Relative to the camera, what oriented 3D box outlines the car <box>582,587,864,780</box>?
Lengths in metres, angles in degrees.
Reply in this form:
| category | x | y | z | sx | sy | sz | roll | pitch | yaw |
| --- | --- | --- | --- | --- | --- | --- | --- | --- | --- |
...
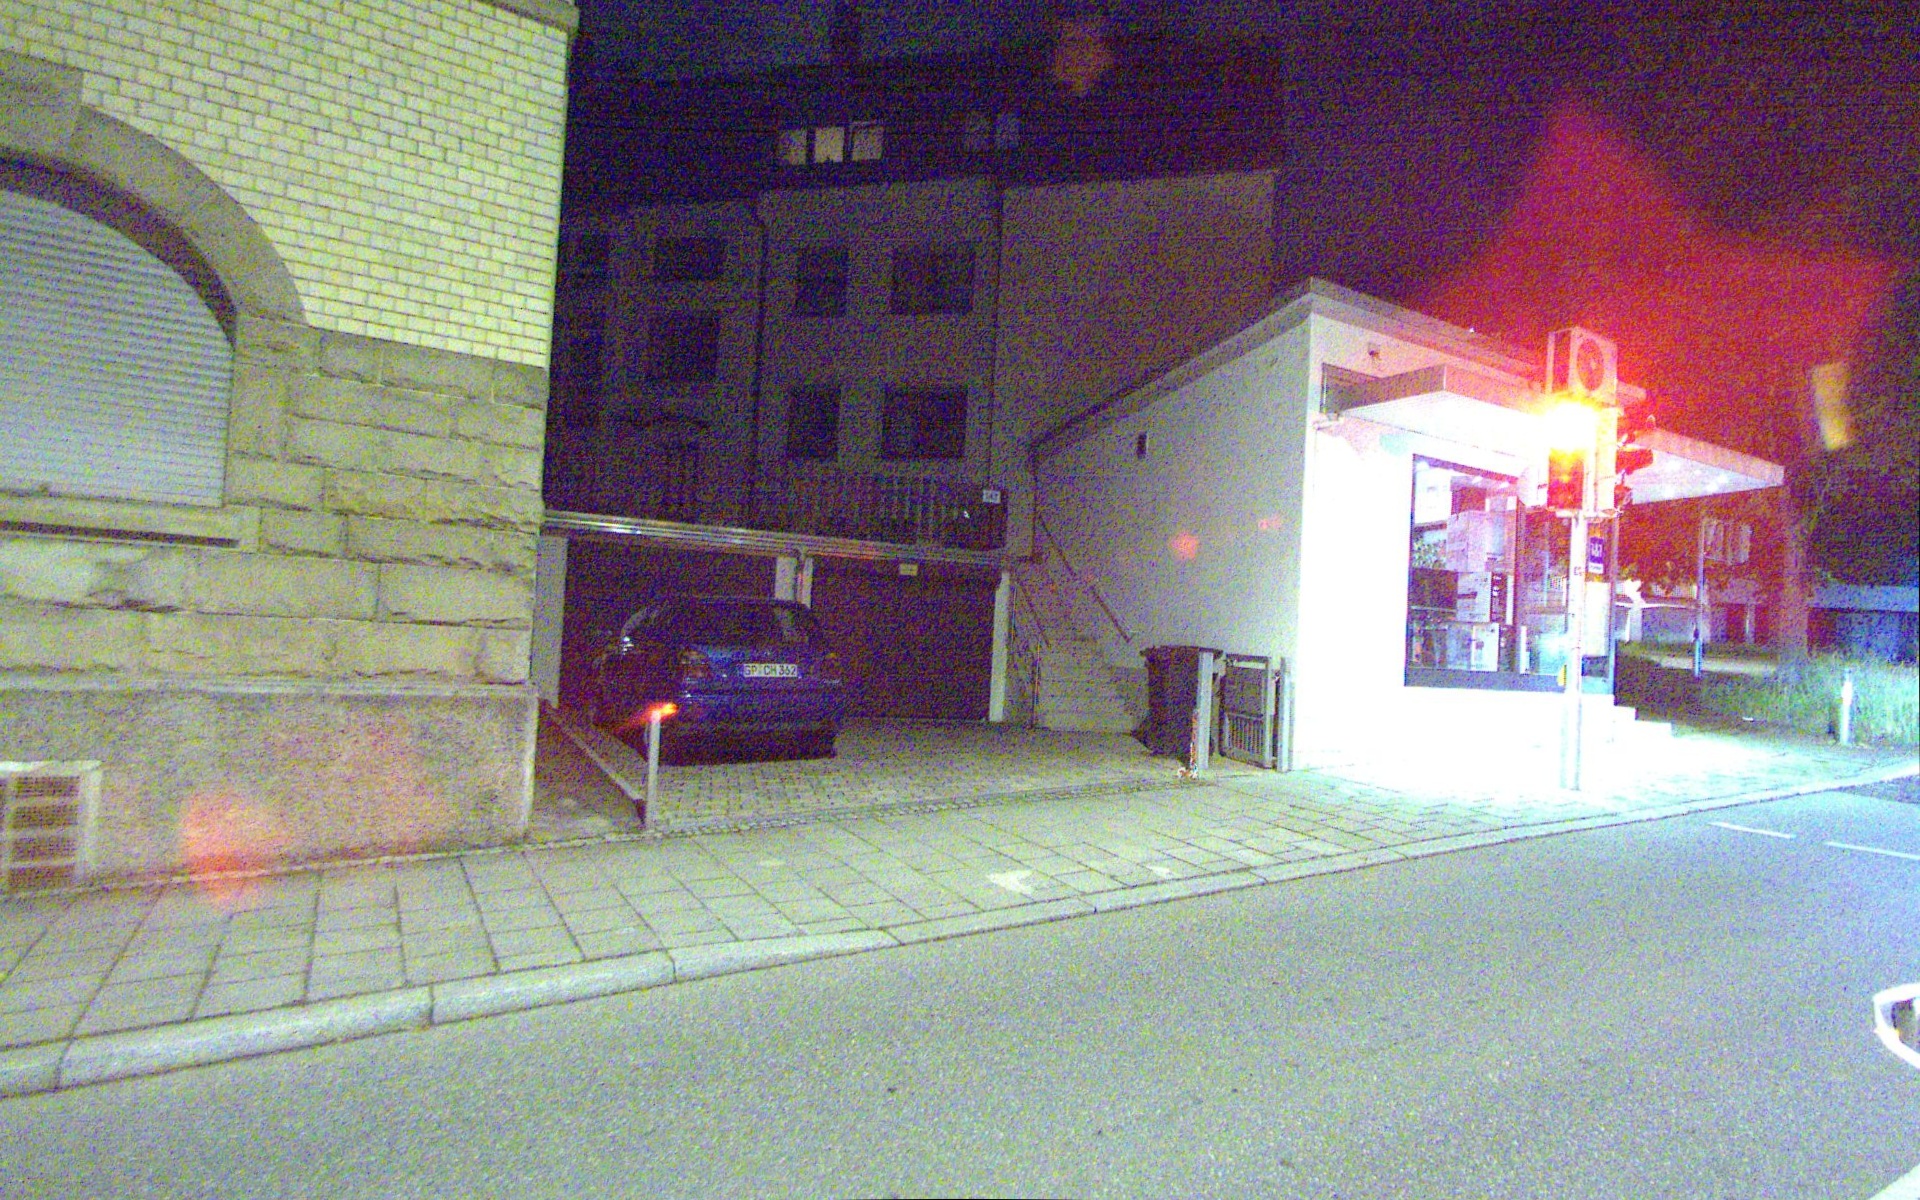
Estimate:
| category | x | y | z | sx | sy | sz | roll | pitch | yaw |
| --- | --- | --- | --- | --- | --- | --- | --- | --- | --- |
| car | -2.389 | 0.653 | 9.531 | 1.655 | 1.470 | 3.341 | 2 | -1 | -31 |

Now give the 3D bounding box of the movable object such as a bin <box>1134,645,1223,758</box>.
| category | x | y | z | sx | sy | sz | roll | pitch | yaw |
| --- | --- | --- | --- | --- | --- | --- | --- | --- | --- |
| movable object such as a bin | 2.181 | 0.998 | 10.061 | 0.643 | 1.063 | 0.639 | 2 | 0 | -12 |
